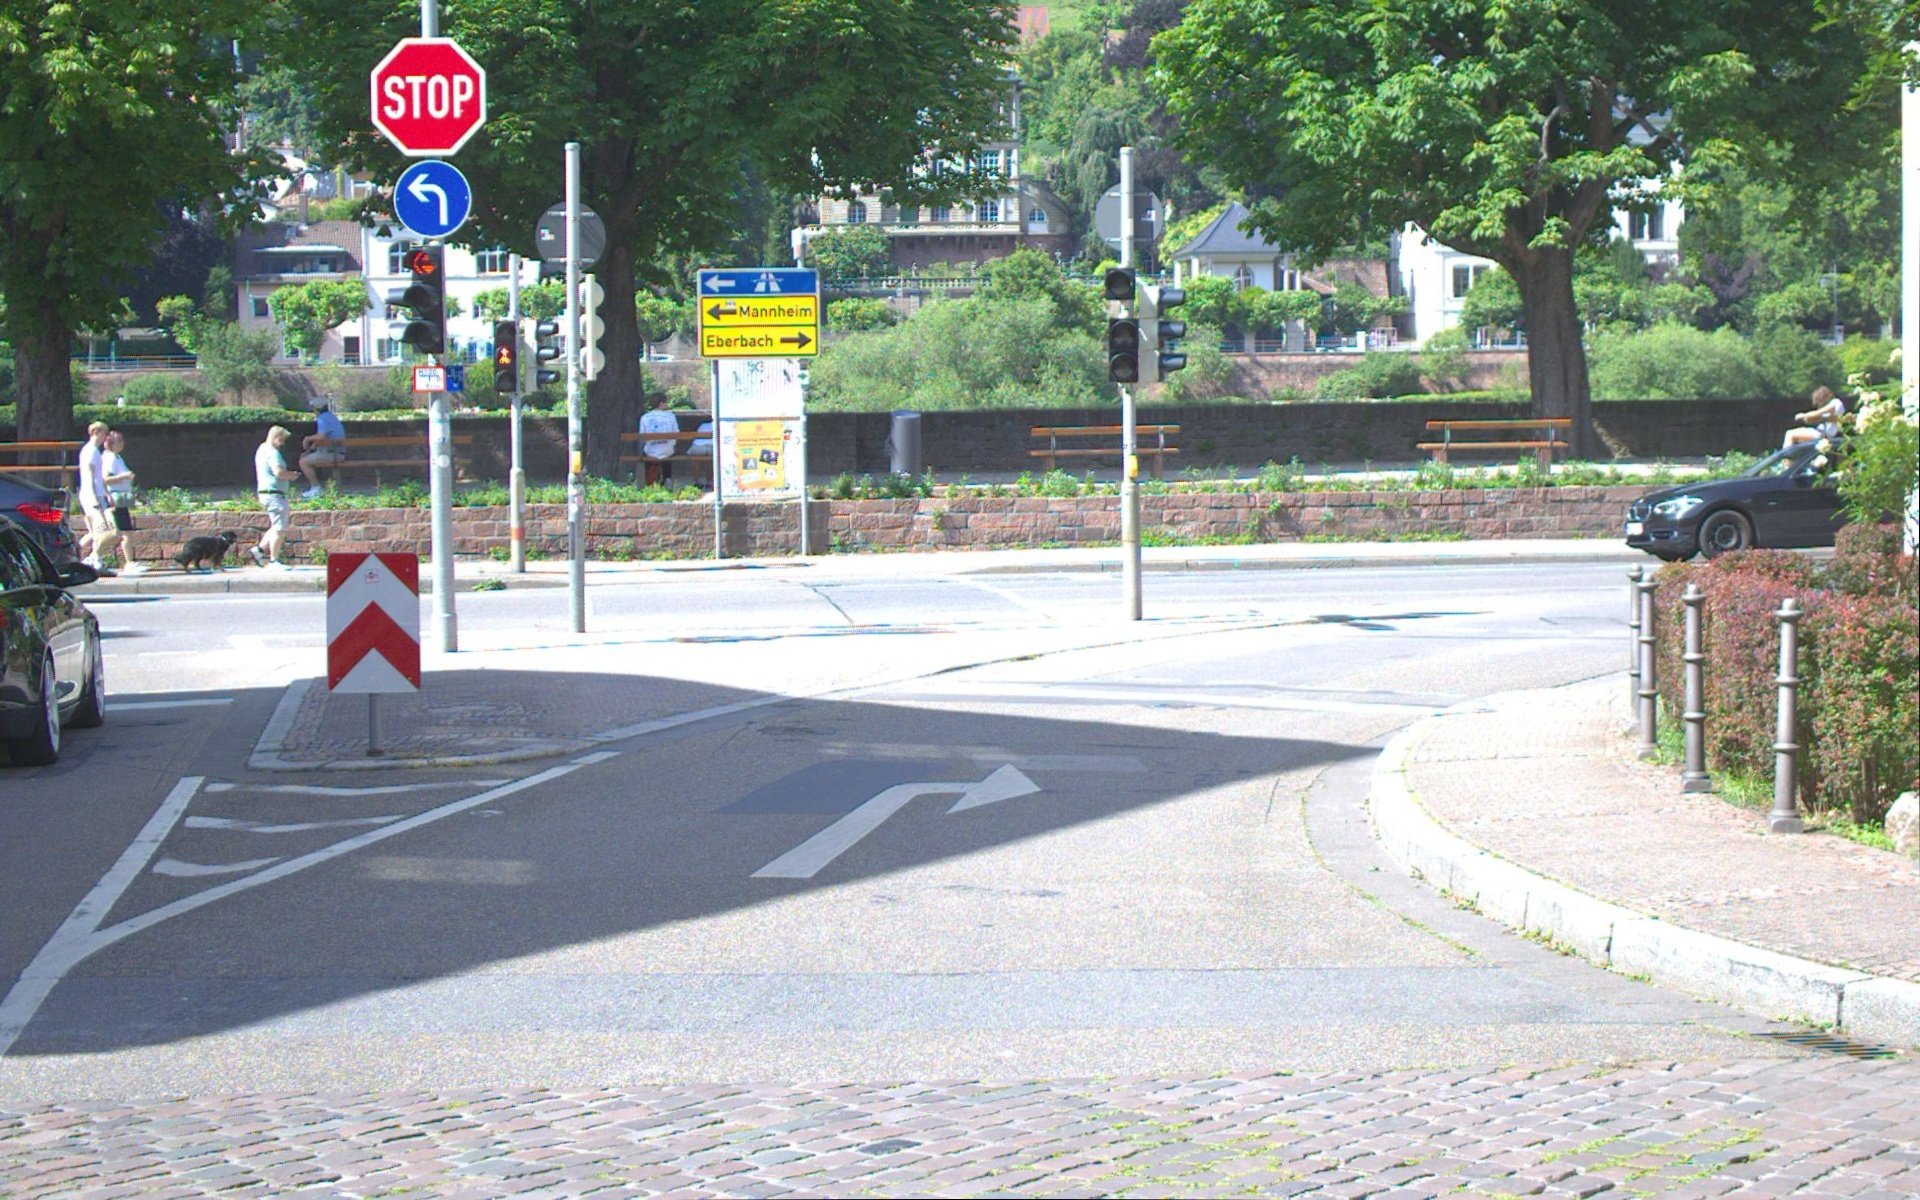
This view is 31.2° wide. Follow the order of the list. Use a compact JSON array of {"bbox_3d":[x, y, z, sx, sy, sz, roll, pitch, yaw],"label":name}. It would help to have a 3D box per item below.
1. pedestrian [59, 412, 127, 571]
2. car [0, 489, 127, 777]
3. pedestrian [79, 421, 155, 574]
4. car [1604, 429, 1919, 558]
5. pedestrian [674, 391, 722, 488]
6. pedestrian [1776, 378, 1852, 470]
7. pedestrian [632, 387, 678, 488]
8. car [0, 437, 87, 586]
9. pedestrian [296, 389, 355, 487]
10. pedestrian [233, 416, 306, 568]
[{"bbox_3d":[-10.005,-1.251,39.678,0.578,1.795,0.705,-2,2,-5],"label":"pedestrian"},{"bbox_3d":[-6.095,0.141,20.466,1.714,1.457,4.726,-3,3,-8],"label":"car"},{"bbox_3d":[-10.068,-1.225,41.081,0.721,1.795,0.634,-2,2,-5],"label":"pedestrian"},{"bbox_3d":[9.600,-1.238,39.404,3.986,1.413,1.875,-1,3,-7],"label":"car"},{"bbox_3d":[-3.452,-2.103,45.191,0.553,1.224,0.986,1,0,-7],"label":"pedestrian"},{"bbox_3d":[11.715,-2.415,47.187,0.797,1.207,0.715,1,0,-5],"label":"pedestrian"},{"bbox_3d":[-3.988,-2.119,44.937,0.553,1.275,0.704,1,0,-6],"label":"pedestrian"},{"bbox_3d":[-11.710,-0.843,35.997,4.762,1.512,1.907,-3,2,-9],"label":"car"},{"bbox_3d":[-8.159,-2.080,44.194,0.641,1.224,0.414,-3,2,-18],"label":"pedestrian"},{"bbox_3d":[-8.217,-1.285,40.928,0.688,1.763,0.717,-2,2,-3],"label":"pedestrian"}]
